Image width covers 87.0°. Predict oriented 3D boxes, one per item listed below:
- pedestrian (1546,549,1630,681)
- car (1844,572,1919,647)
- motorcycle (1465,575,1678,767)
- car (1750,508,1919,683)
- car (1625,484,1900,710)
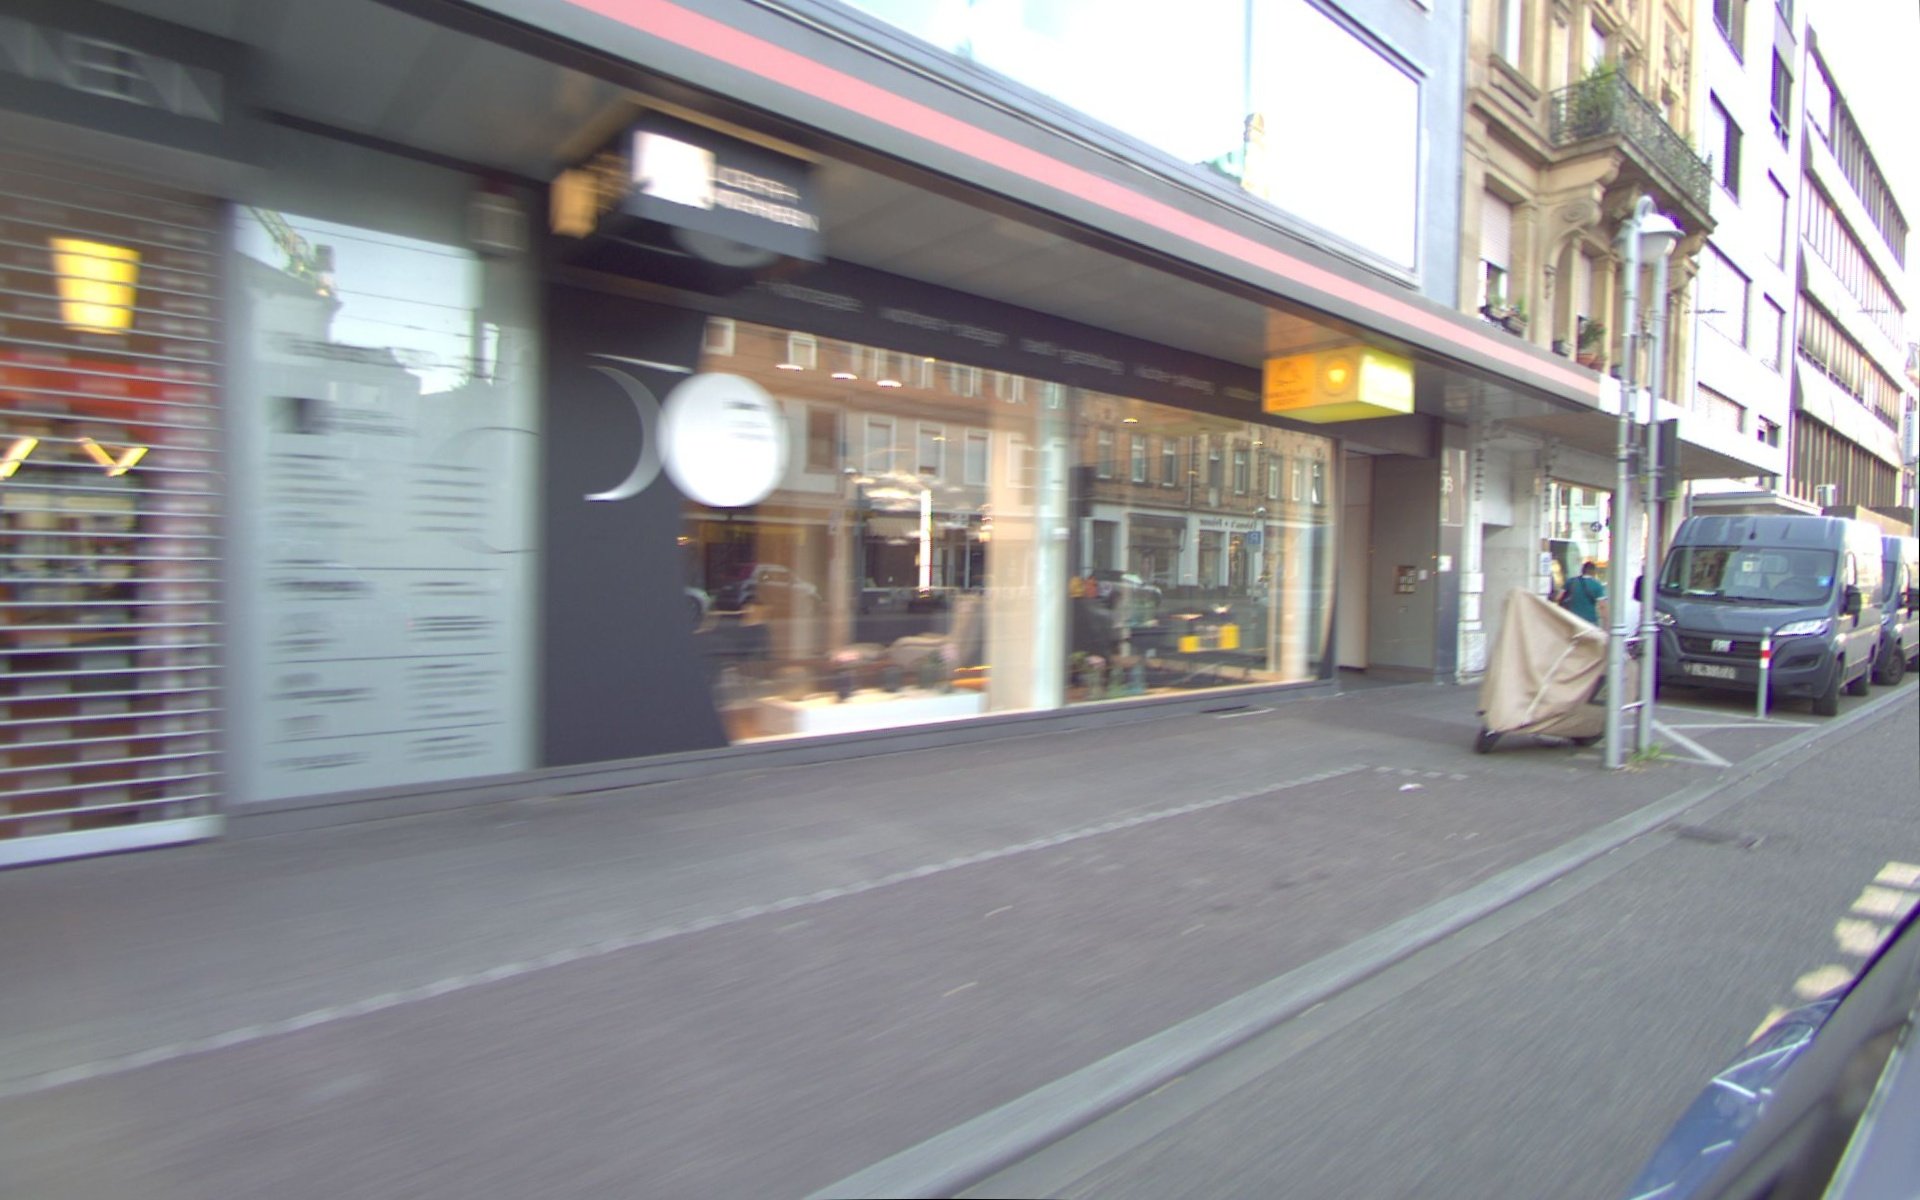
[{"bbox_3d":[8.877,0.188,14.308,0.777,1.777,0.742,-1,5,-44],"label":"pedestrian"},{"bbox_3d":[22.939,0.190,24.605,3.778,1.672,1.638,-1,2,-41],"label":"car"},{"bbox_3d":[5.355,0.518,8.770,2.592,1.421,0.784,0,3,-41],"label":"motorcycle"},{"bbox_3d":[15.733,-0.128,17.699,5.507,2.606,1.997,-1,1,-41],"label":"car"},{"bbox_3d":[11.029,-0.083,13.718,5.509,2.479,2.077,-1,1,-42],"label":"car"}]
